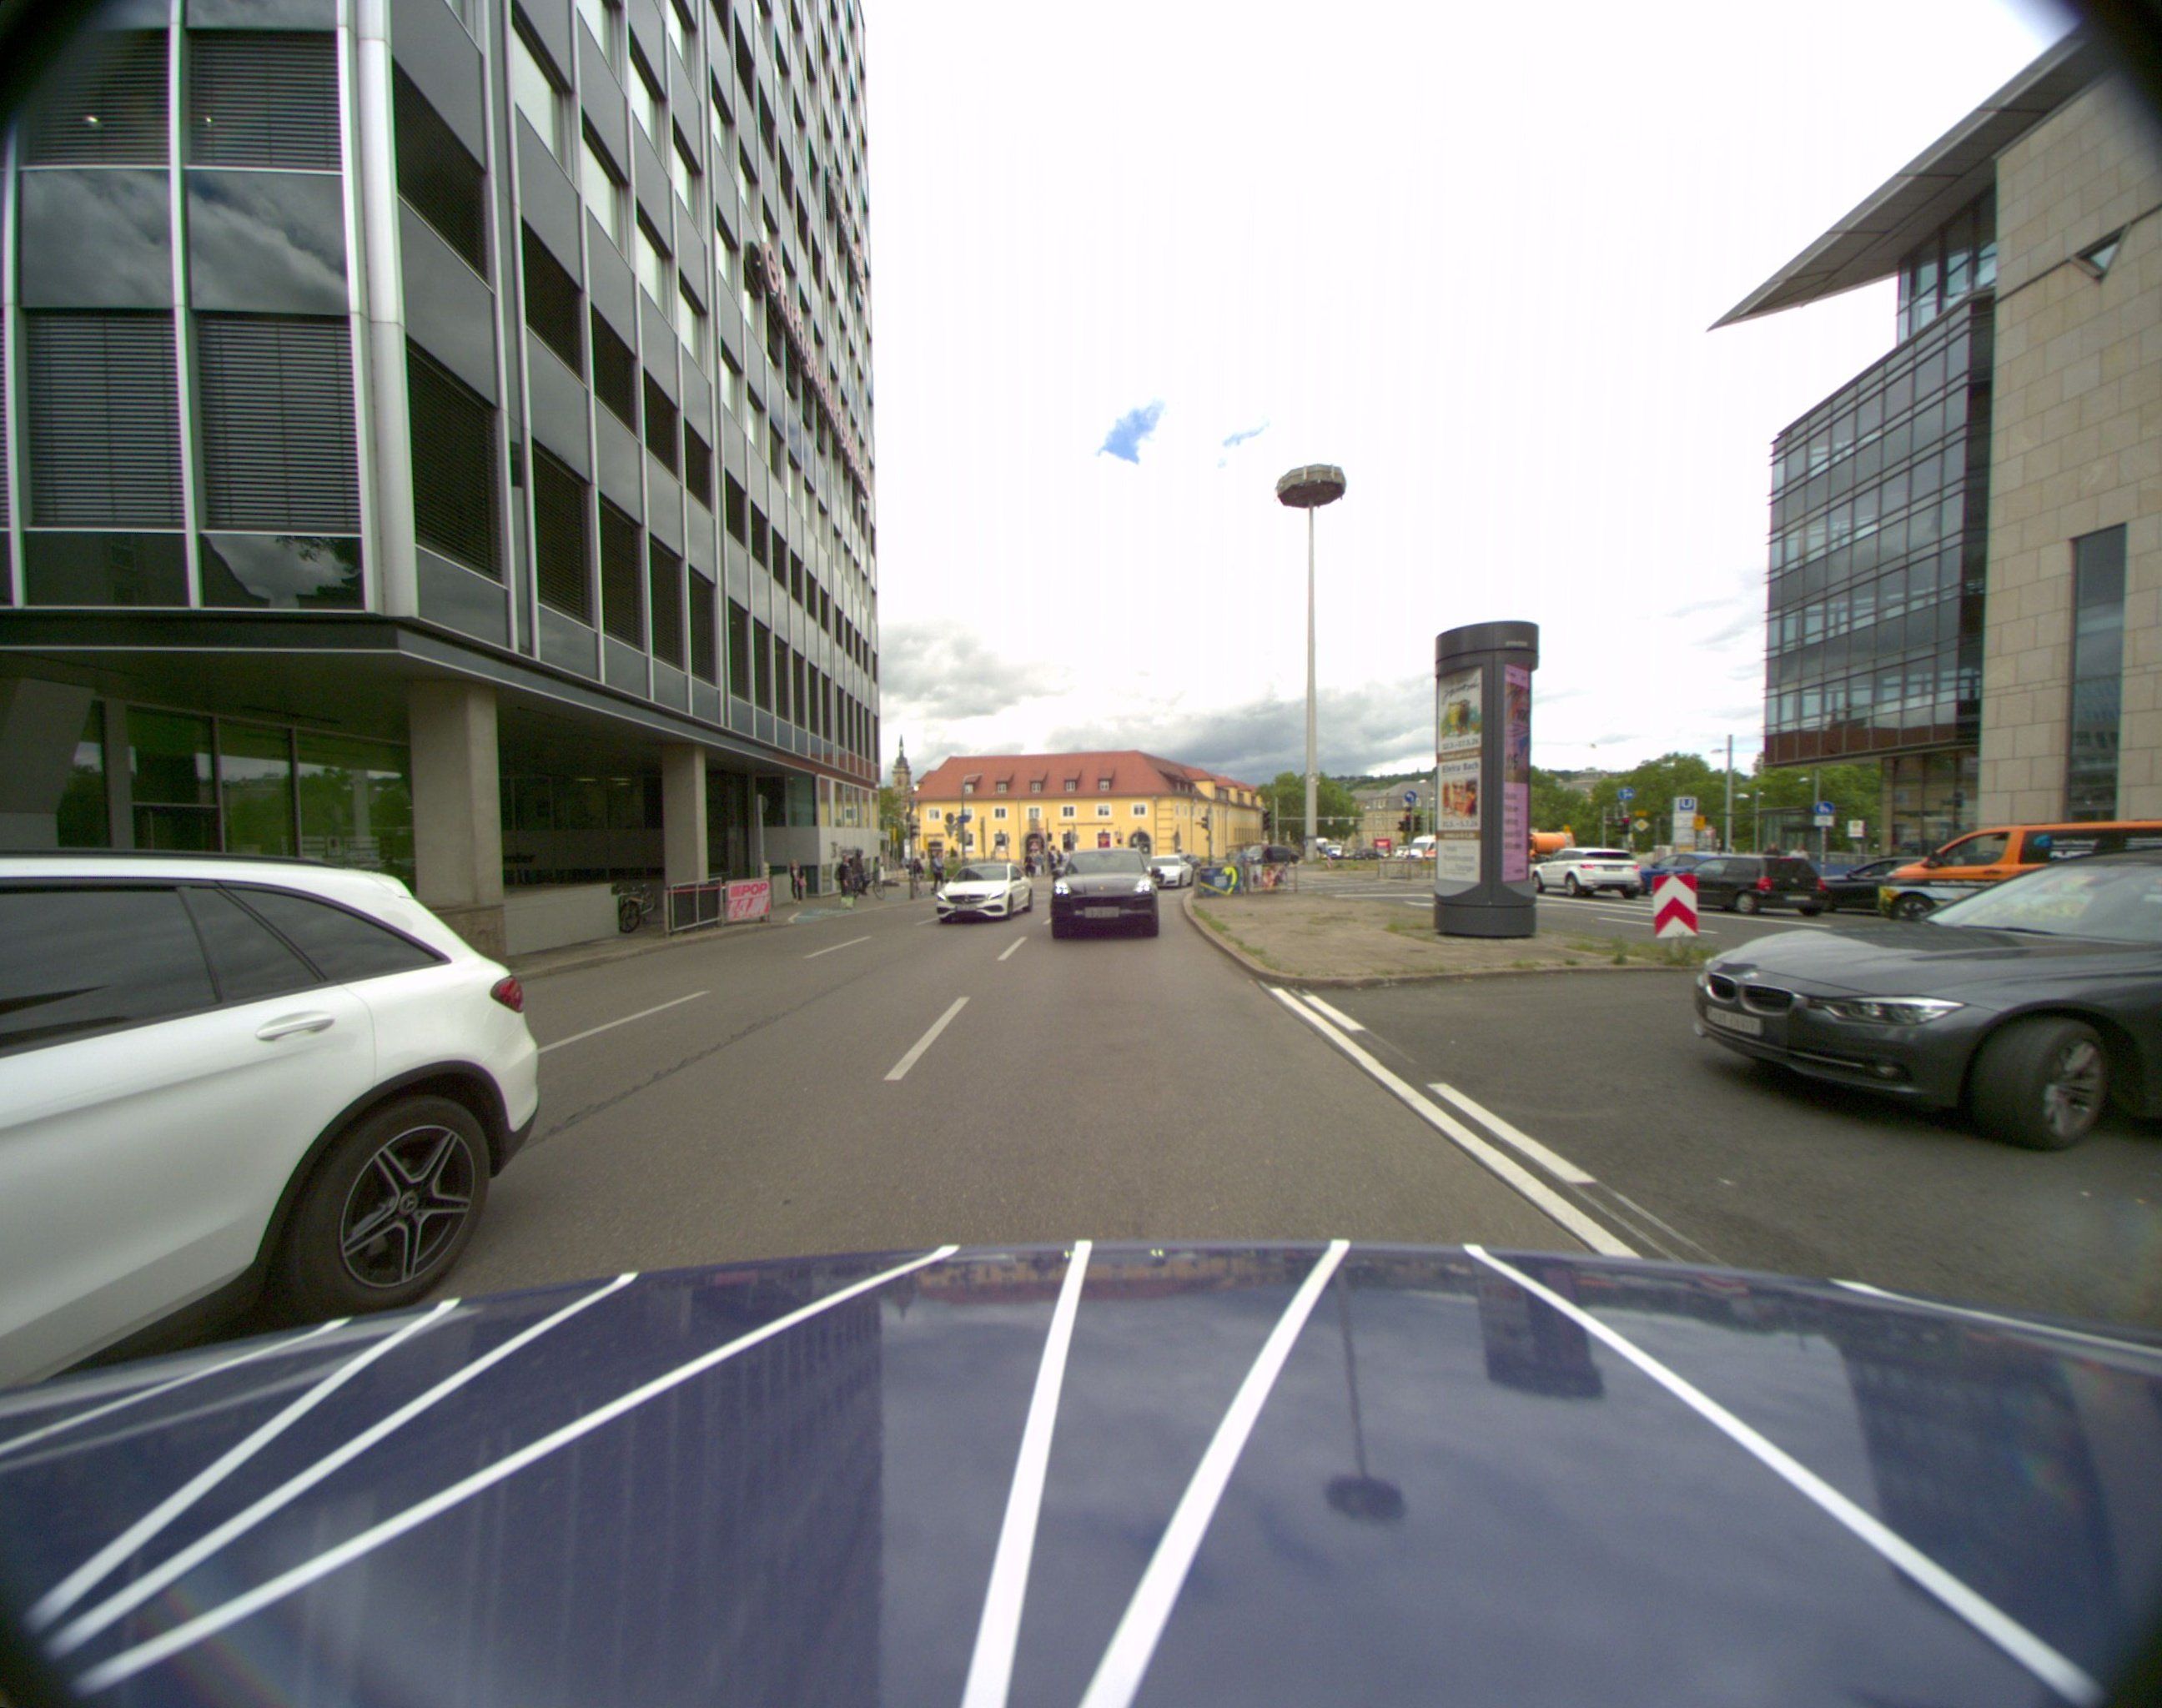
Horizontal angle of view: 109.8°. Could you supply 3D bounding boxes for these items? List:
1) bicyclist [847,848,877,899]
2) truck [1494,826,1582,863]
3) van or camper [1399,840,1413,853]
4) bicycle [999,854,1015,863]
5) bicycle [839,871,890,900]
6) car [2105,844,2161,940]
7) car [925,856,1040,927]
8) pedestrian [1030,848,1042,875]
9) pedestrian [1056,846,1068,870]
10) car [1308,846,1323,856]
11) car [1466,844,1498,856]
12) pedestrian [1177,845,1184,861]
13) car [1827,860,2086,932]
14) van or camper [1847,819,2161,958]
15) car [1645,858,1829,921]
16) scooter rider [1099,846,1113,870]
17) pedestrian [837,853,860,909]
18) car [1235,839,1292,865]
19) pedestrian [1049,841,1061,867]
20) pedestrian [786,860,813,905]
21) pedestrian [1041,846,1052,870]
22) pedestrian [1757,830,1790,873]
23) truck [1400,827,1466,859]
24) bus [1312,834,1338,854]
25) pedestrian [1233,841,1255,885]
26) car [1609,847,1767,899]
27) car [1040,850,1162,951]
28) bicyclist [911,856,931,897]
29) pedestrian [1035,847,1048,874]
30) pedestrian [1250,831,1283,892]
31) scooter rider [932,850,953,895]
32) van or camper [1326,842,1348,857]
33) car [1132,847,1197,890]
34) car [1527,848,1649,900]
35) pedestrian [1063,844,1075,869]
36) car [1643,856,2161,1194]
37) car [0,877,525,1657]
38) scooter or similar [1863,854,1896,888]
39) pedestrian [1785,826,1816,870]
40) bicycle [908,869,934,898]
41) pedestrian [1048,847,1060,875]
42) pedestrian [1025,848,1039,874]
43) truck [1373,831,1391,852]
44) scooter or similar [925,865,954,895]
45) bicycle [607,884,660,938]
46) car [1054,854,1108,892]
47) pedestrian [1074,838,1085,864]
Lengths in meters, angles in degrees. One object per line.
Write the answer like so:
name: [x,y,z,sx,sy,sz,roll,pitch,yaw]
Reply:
bicyclist: [-8.051,0.719,27.992,0.811,1.835,0.676,1,2,28]
truck: [49.583,-1.023,82.420,9.185,3.594,2.725,-2,-2,-19]
van or camper: [47.730,-1.122,111.681,1.862,1.905,4.721,0,1,23]
bicycle: [-8.705,0.495,89.636,1.769,1.079,0.621,-1,1,11]
bicycle: [-7.988,1.147,28.013,1.763,1.001,0.682,1,-1,26]
car: [19.407,0.686,11.304,1.998,1.636,4.682,1,1,1]
car: [-2.408,0.891,19.891,1.869,1.560,4.654,-3,-1,6]
pedestrian: [-3.089,0.517,52.043,0.670,1.805,0.701,-1,1,-20]
pedestrian: [-1.325,0.263,53.621,0.611,1.686,0.641,-2,1,-22]
car: [35.064,-0.458,113.529,1.824,1.401,4.006,0,1,22]
car: [50.147,-0.480,95.038,4.637,1.474,1.943,-1,-1,-41]
pedestrian: [11.499,-0.138,87.702,0.639,1.884,0.558,-1,1,-10]
car: [18.981,0.833,16.742,1.560,1.334,3.633,1,1,2]
van or camper: [15.875,0.461,12.242,1.917,1.910,5.083,1,1,1]
car: [16.268,0.818,19.094,1.560,1.371,3.633,1,1,2]
scooter rider: [1.781,0.271,53.925,0.767,1.684,0.745,-1,1,-15]
pedestrian: [-7.327,0.843,23.932,0.526,1.702,0.752,1,3,-4]
car: [14.281,-0.199,59.388,4.650,1.977,1.855,-1,3,-39]
pedestrian: [-1.906,0.015,55.552,0.611,1.899,0.641,-2,1,-22]
pedestrian: [-9.232,0.926,24.930,0.606,1.434,0.838,0,1,-3]
pedestrian: [-2.478,0.270,54.597,0.611,1.686,0.641,-2,1,-22]
pedestrian: [26.691,-0.099,29.295,0.653,1.605,0.967,0,4,24]
truck: [31.581,-0.953,68.173,5.796,2.768,1.952,0,1,-23]
bus: [40.283,-1.639,125.364,3.428,3.185,13.081,-1,1,20]
pedestrian: [6.721,0.381,31.351,0.717,1.780,0.634,3,0,1]
car: [19.582,0.546,24.770,1.998,1.516,4.091,0,1,3]
car: [0.331,0.782,15.446,2.004,1.629,5.020,-2,0,0]
bicyclist: [-6.279,0.877,29.781,0.566,1.541,0.844,-1,2,-28]
pedestrian: [-2.687,0.431,51.349,0.670,1.852,0.701,-1,1,-20]
pedestrian: [6.673,0.267,27.388,0.879,2.160,0.761,-1,1,-17]
scooter rider: [-5.626,0.727,30.802,0.594,1.798,0.641,-1,2,-40]
van or camper: [38.225,-0.664,113.415,2.369,2.249,6.298,1,1,25]
car: [3.759,0.702,33.596,2.093,1.598,4.420,-4,-4,15]
car: [16.873,0.598,25.554,1.737,1.589,4.321,0,1,9]
pedestrian: [-0.859,0.155,55.060,0.611,1.786,0.641,-2,1,-22]
car: [6.084,0.760,4.101,4.558,1.450,1.882,-1,1,9]
car: [-3.282,0.952,1.053,1.806,1.637,4.333,0,1,0]
scooter or similar: [29.738,0.626,28.288,1.388,1.201,0.532,-1,1,-30]
pedestrian: [27.468,-0.244,29.012,0.604,1.622,0.787,-3,3,22]
bicycle: [-6.302,1.138,29.828,0.582,1.021,1.666,-1,2,-28]
pedestrian: [-1.898,0.479,52.608,0.611,1.954,0.641,-2,1,-22]
pedestrian: [-3.187,0.457,49.313,0.802,1.688,0.547,-1,1,-17]
truck: [51.082,-2.140,128.776,2.785,3.470,8.363,1,1,22]
scooter or similar: [-5.764,1.041,30.978,0.594,1.169,1.319,-1,2,-40]
bicycle: [-9.819,1.222,16.720,0.715,1.042,1.484,-1,1,-20]
car: [0.058,0.784,33.469,1.706,1.524,3.766,0,0,11]
pedestrian: [-0.105,-0.227,56.333,0.611,1.944,0.642,-1,1,-19]
